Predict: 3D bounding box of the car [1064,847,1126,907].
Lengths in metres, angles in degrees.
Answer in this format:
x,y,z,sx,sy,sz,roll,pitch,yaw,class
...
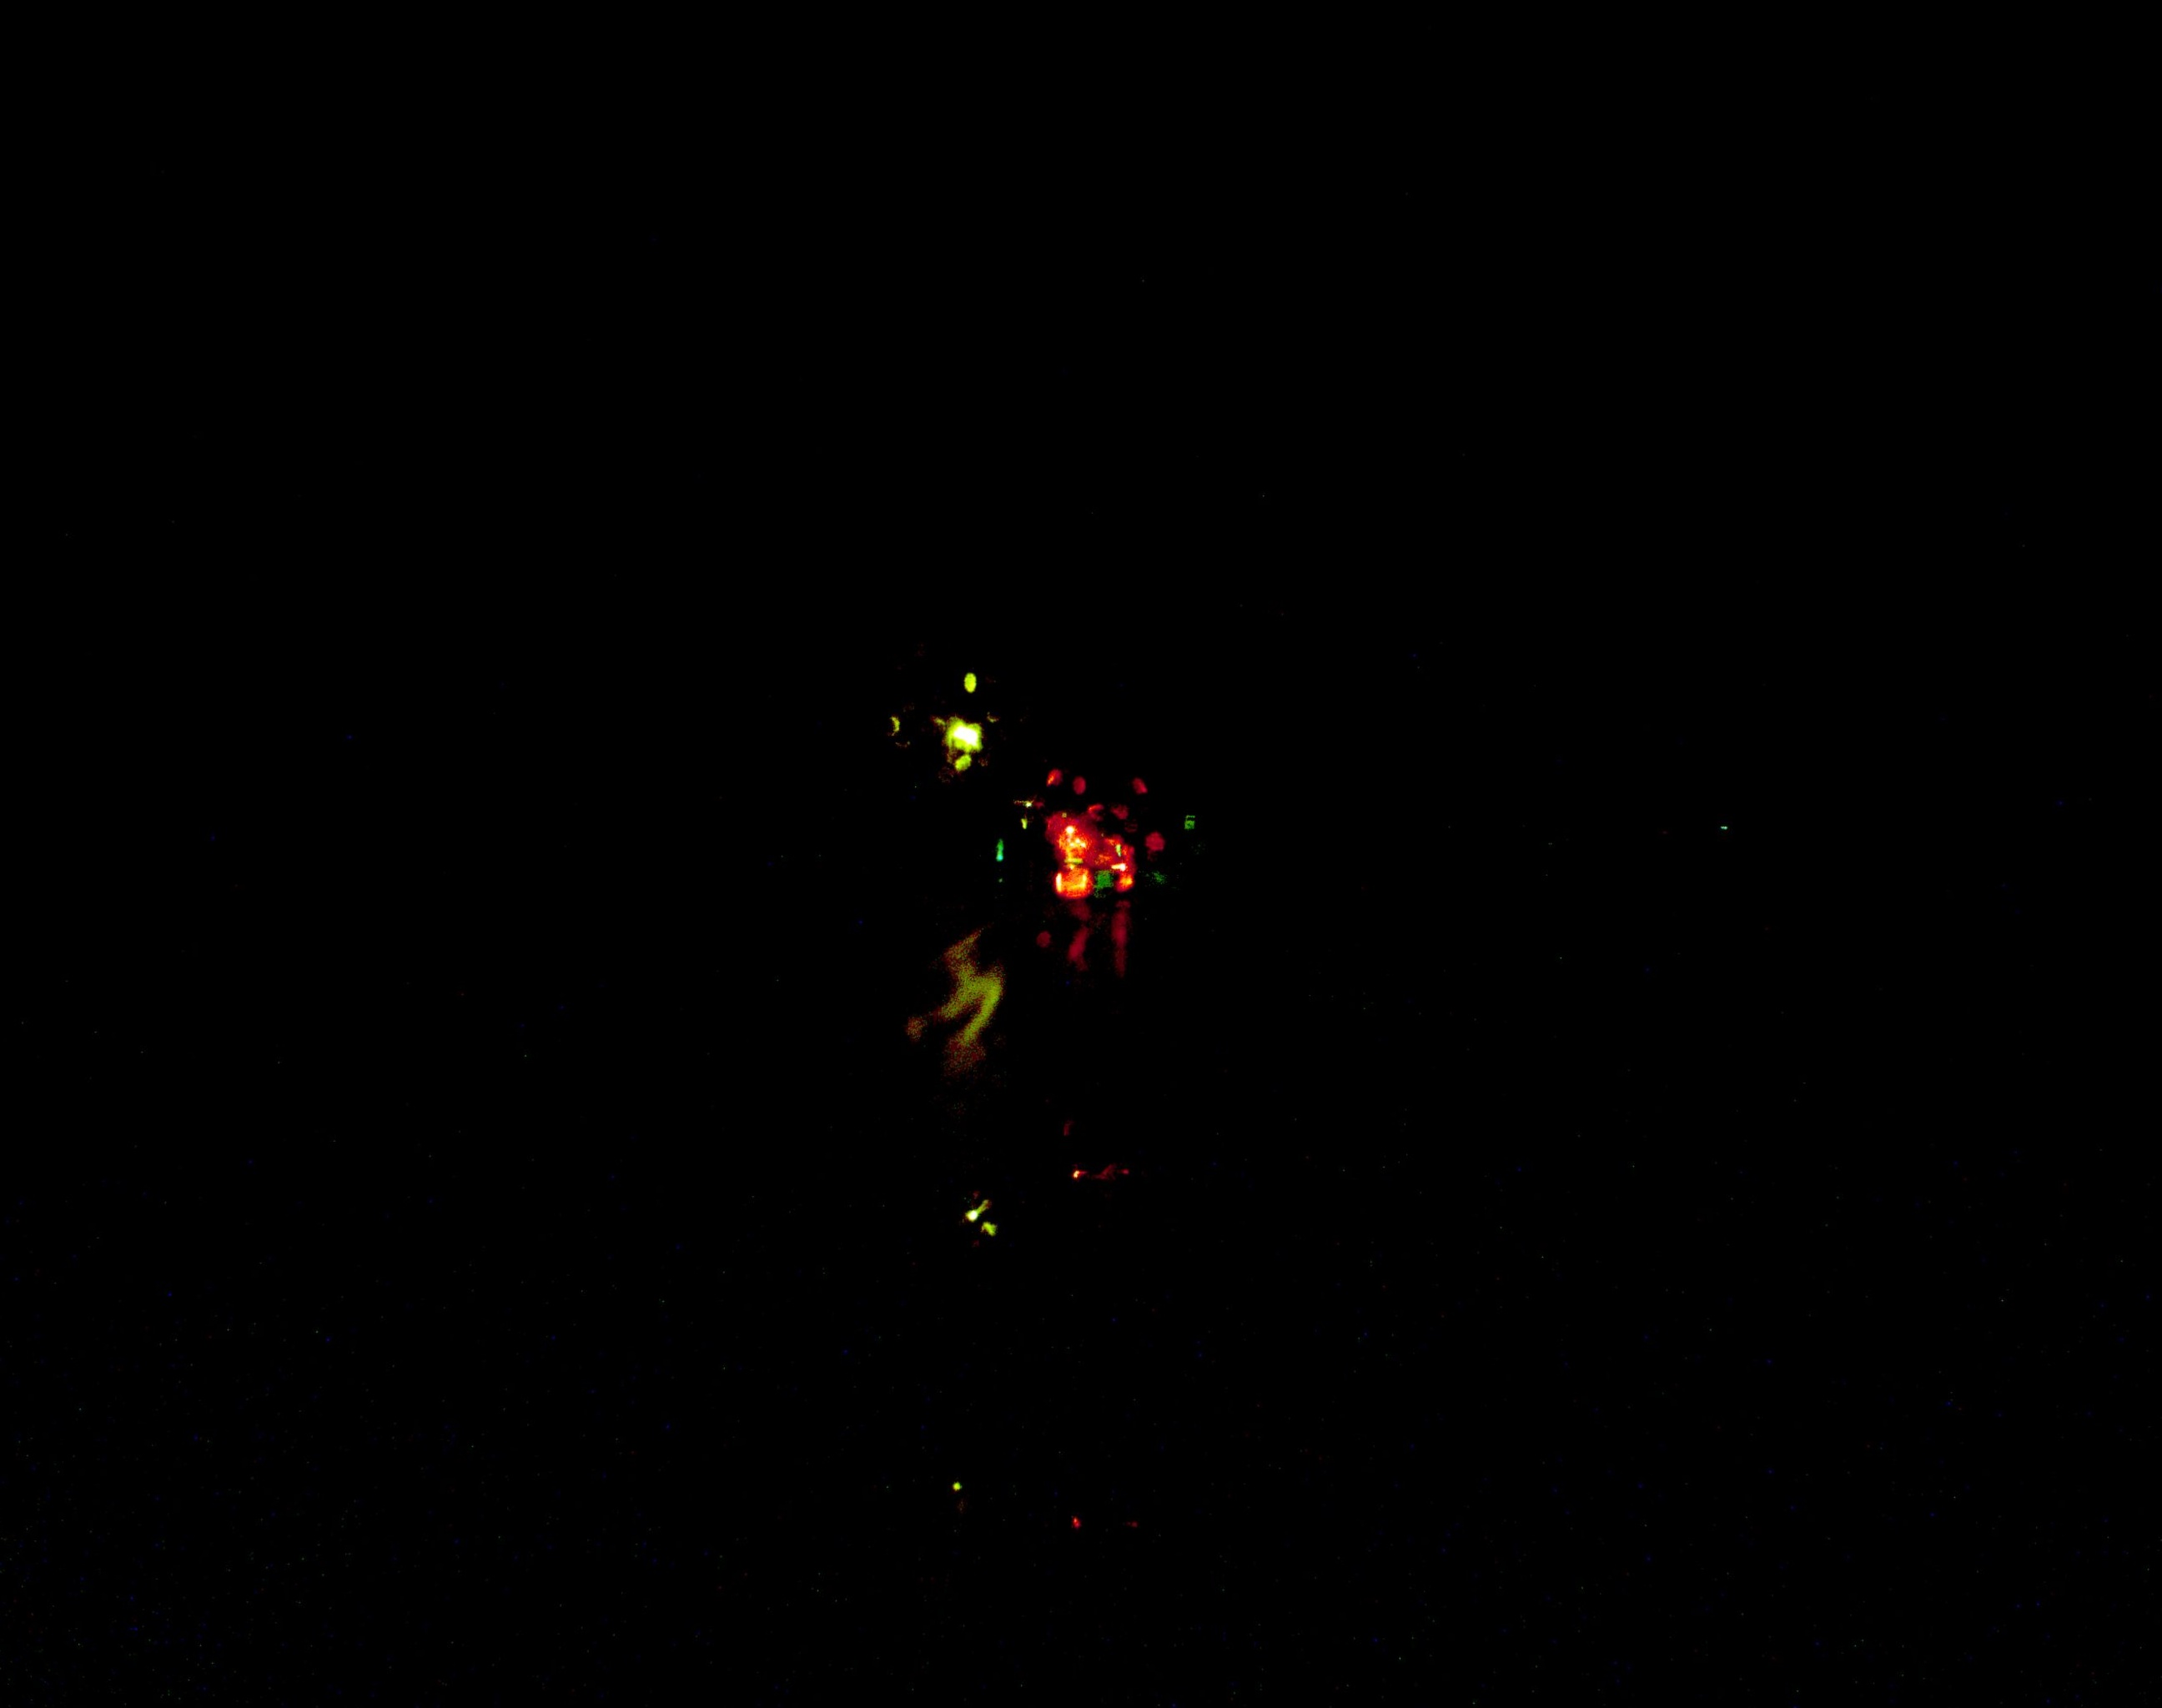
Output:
x,y,z,sx,sy,sz,roll,pitch,yaw,class
0.448,0.650,25.558,1.784,1.681,3.906,-1,1,1,car
